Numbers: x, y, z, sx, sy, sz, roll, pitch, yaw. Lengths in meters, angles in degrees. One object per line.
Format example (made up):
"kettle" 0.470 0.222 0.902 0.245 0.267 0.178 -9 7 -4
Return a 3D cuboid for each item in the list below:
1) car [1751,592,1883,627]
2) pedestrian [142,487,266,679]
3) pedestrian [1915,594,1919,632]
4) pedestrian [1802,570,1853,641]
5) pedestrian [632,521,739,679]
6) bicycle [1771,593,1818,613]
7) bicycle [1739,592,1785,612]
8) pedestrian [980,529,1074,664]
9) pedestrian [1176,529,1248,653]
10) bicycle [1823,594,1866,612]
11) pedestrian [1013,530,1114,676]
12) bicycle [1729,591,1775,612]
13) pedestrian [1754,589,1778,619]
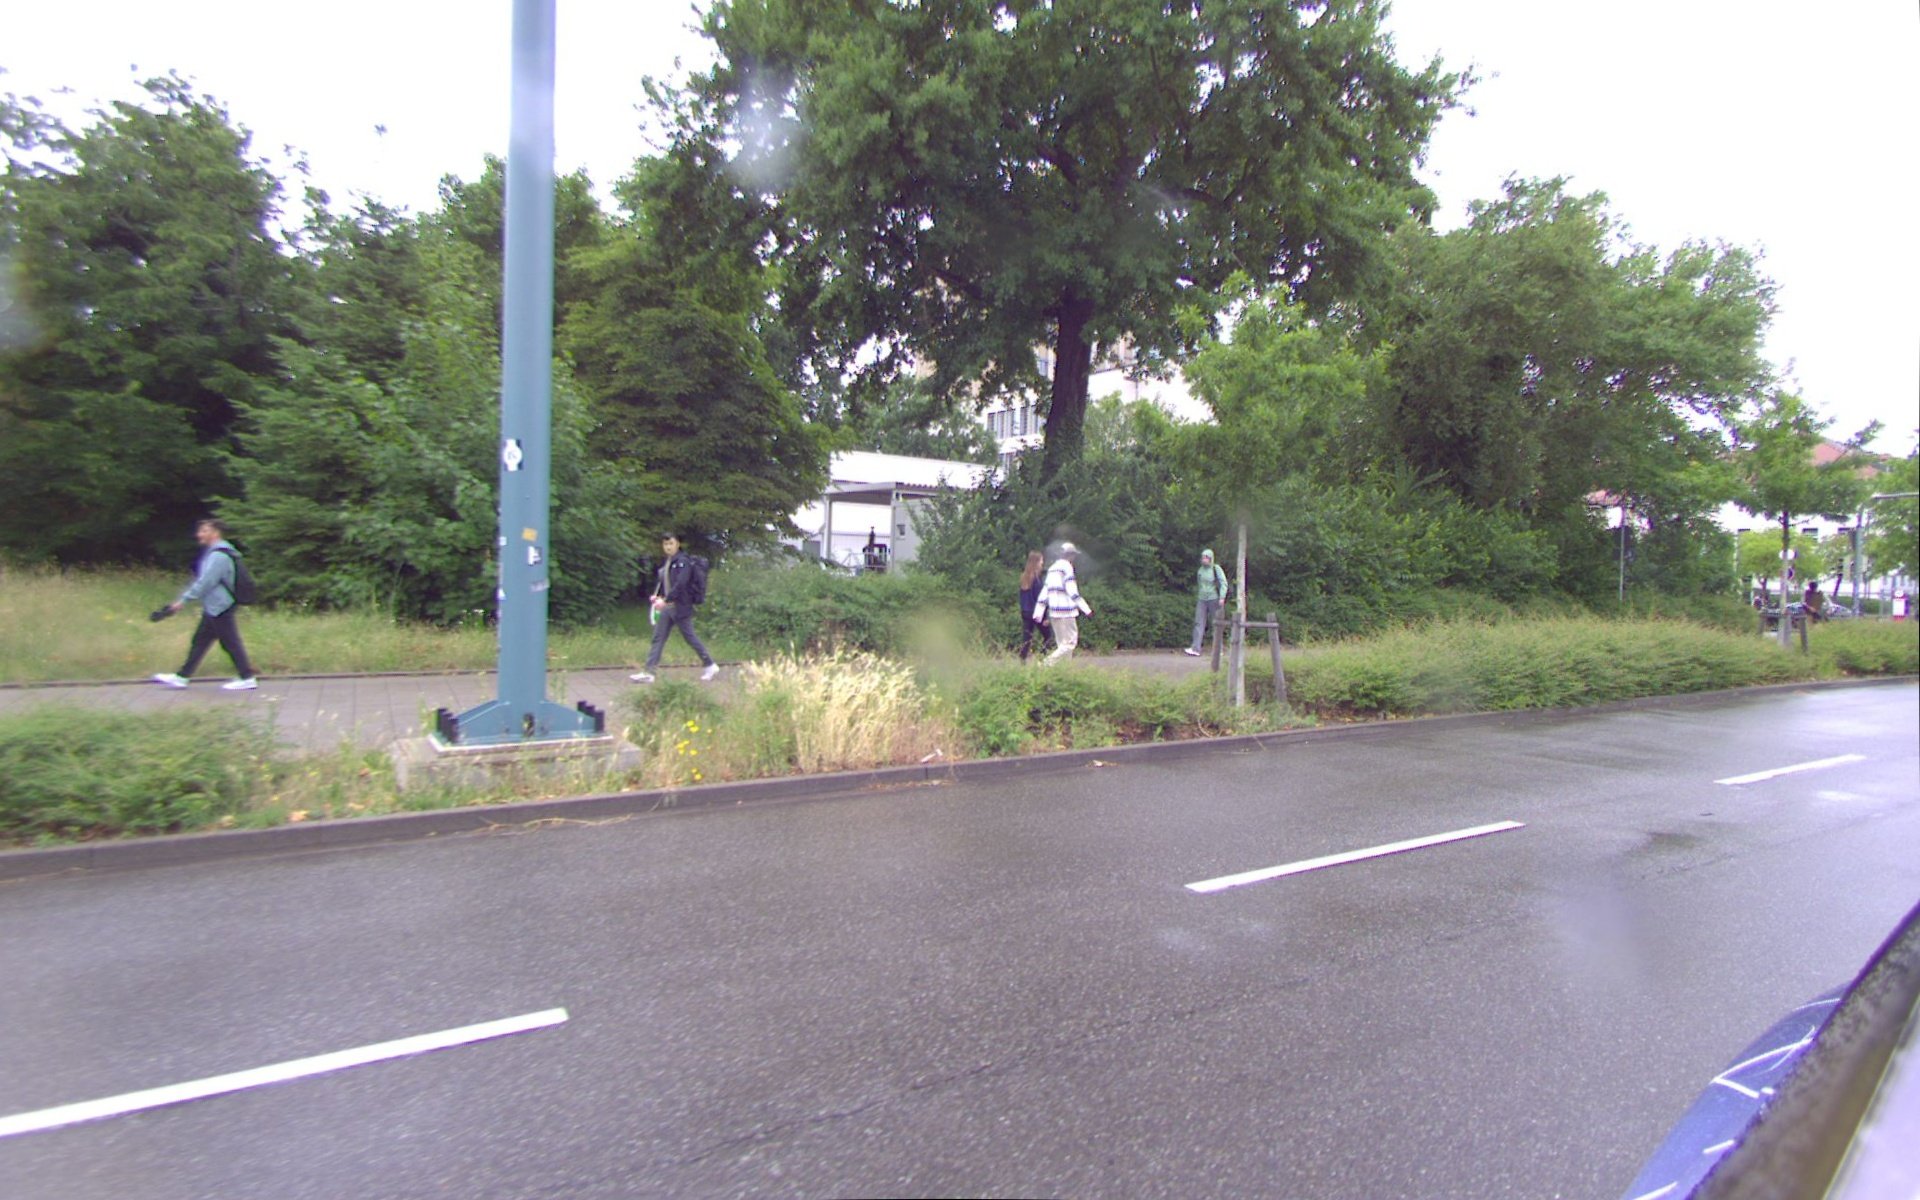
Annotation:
"car" 39.560 0.411 46.809 1.740 1.353 4.390 -3 4 -35
"pedestrian" -7.569 -0.175 10.176 0.811 1.819 0.938 1 1 -26
"pedestrian" 41.794 0.561 43.470 0.870 1.627 0.855 2 1 30
"pedestrian" 23.618 0.145 27.567 0.833 1.882 0.733 1 1 -26
"pedestrian" -3.251 -0.013 11.943 1.024 1.769 0.938 1 1 -26
"bicycle" 54.949 0.188 66.660 0.589 1.237 2.280 0 2 -44
"bicycle" 52.200 0.109 65.914 0.589 1.237 2.280 0 2 -44
"pedestrian" 0.895 -0.043 13.697 0.812 1.725 0.937 4 -1 -28
"pedestrian" 4.267 -0.152 17.181 0.811 2.038 0.794 1 1 -26
"bicycle" 65.460 0.211 74.908 0.589 1.237 2.280 0 2 -44
"pedestrian" 1.296 0.044 12.800 0.812 1.743 0.937 4 -1 -28
"bicycle" 51.473 0.097 65.783 0.589 1.237 2.280 0 2 -44
"pedestrian" 48.726 0.214 61.216 0.841 1.759 1.114 2 1 25
